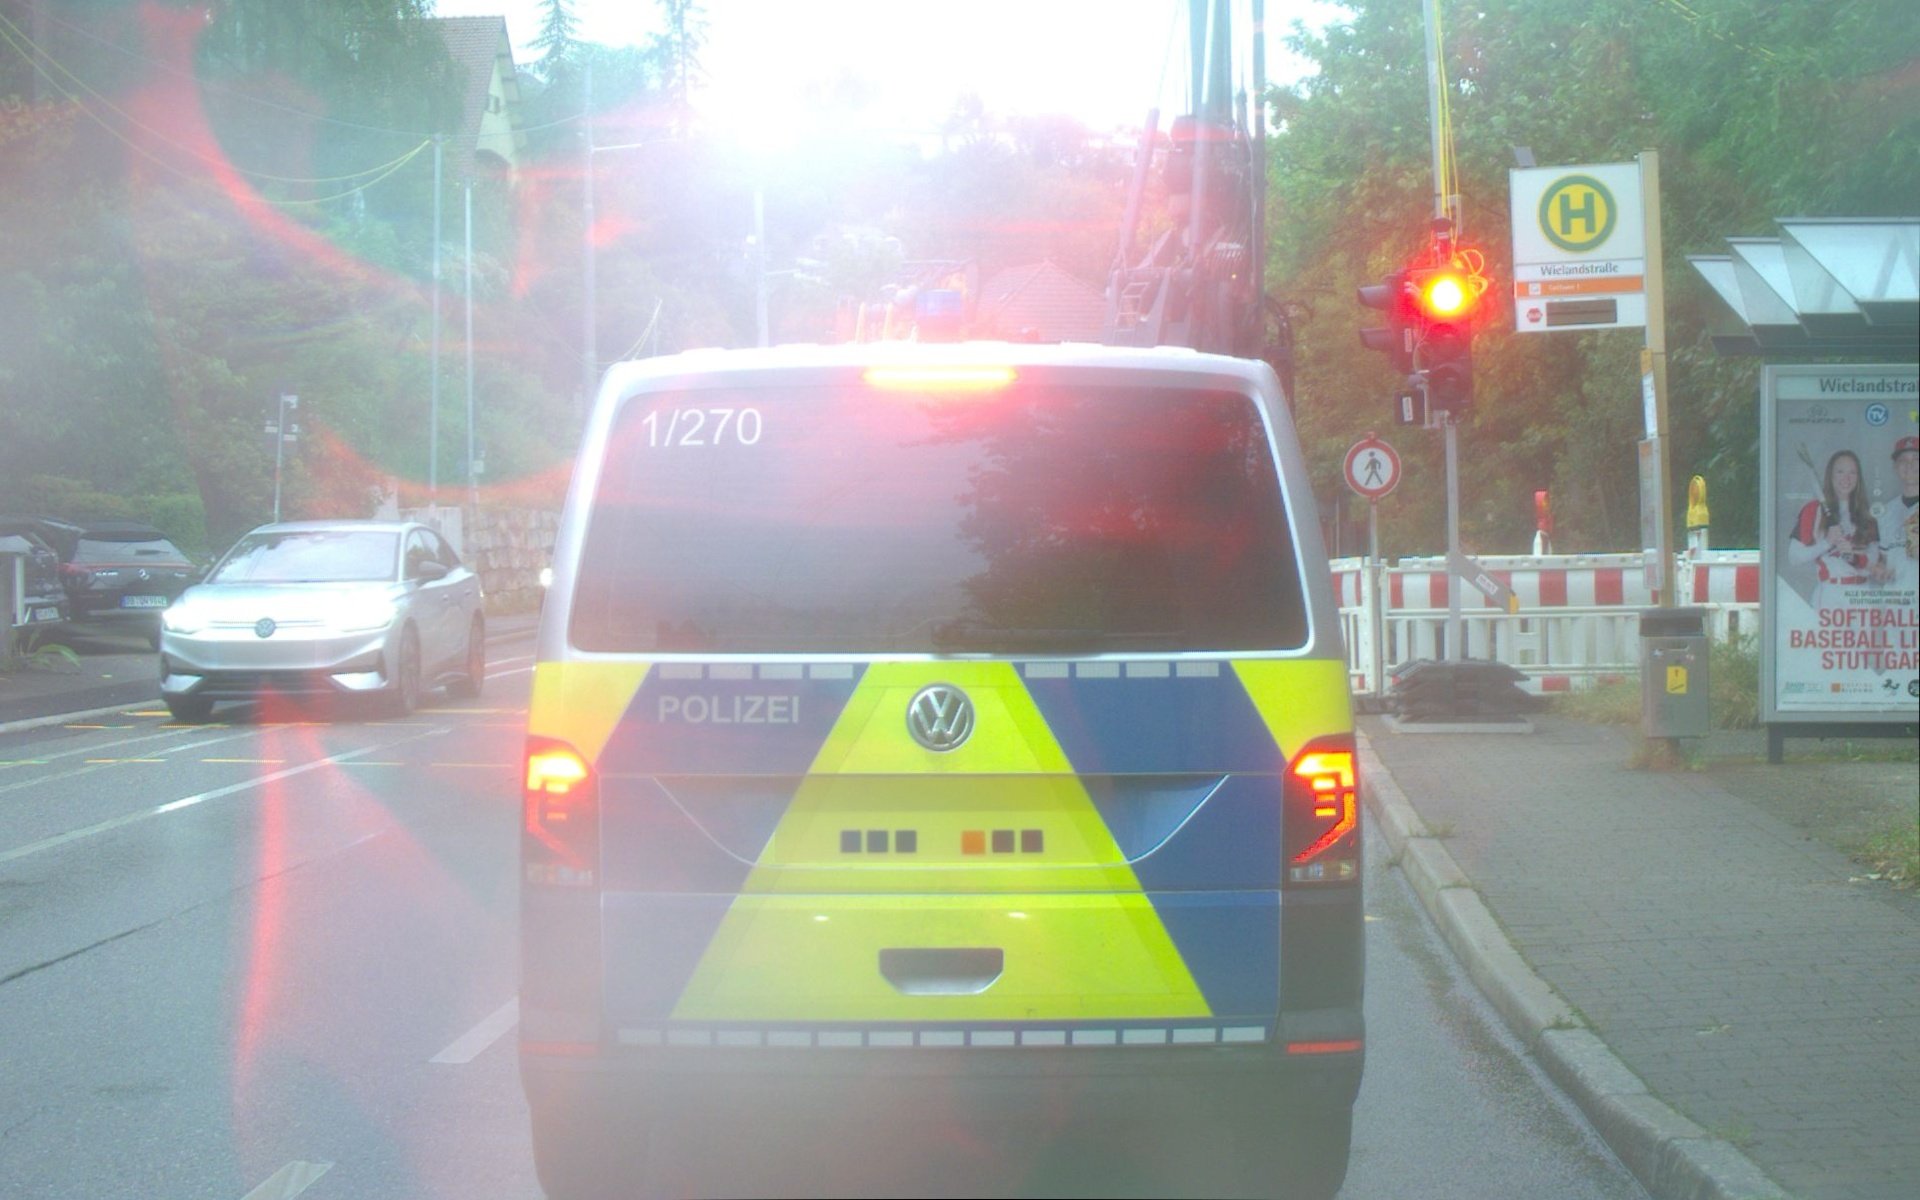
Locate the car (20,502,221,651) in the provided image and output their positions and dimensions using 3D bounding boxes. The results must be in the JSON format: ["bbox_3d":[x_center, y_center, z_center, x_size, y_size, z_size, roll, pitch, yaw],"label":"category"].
[{"bbox_3d":[-9.316,-0.291,37.979,1.765,1.481,3.743,1,3,-20],"label":"car"}]

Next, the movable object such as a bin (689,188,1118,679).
[{"bbox_3d":[-0.414,-1.471,31.635,2.832,4.163,4.378,1,1,15],"label":"movable object such as a bin"}]

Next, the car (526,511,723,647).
[{"bbox_3d":[-4.205,-0.283,43.649,1.867,1.616,4.164,1,1,3],"label":"car"}]

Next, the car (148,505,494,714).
[{"bbox_3d":[-5.074,0.045,27.955,1.853,1.522,4.820,-1,1,0],"label":"car"}]

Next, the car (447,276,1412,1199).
[{"bbox_3d":[-0.086,0.350,8.836,1.893,2.043,4.000,1,1,-1],"label":"car"}]

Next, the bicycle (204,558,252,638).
[{"bbox_3d":[-8.435,-0.032,39.596,0.462,0.894,1.634,0,1,-15],"label":"bicycle"}]
